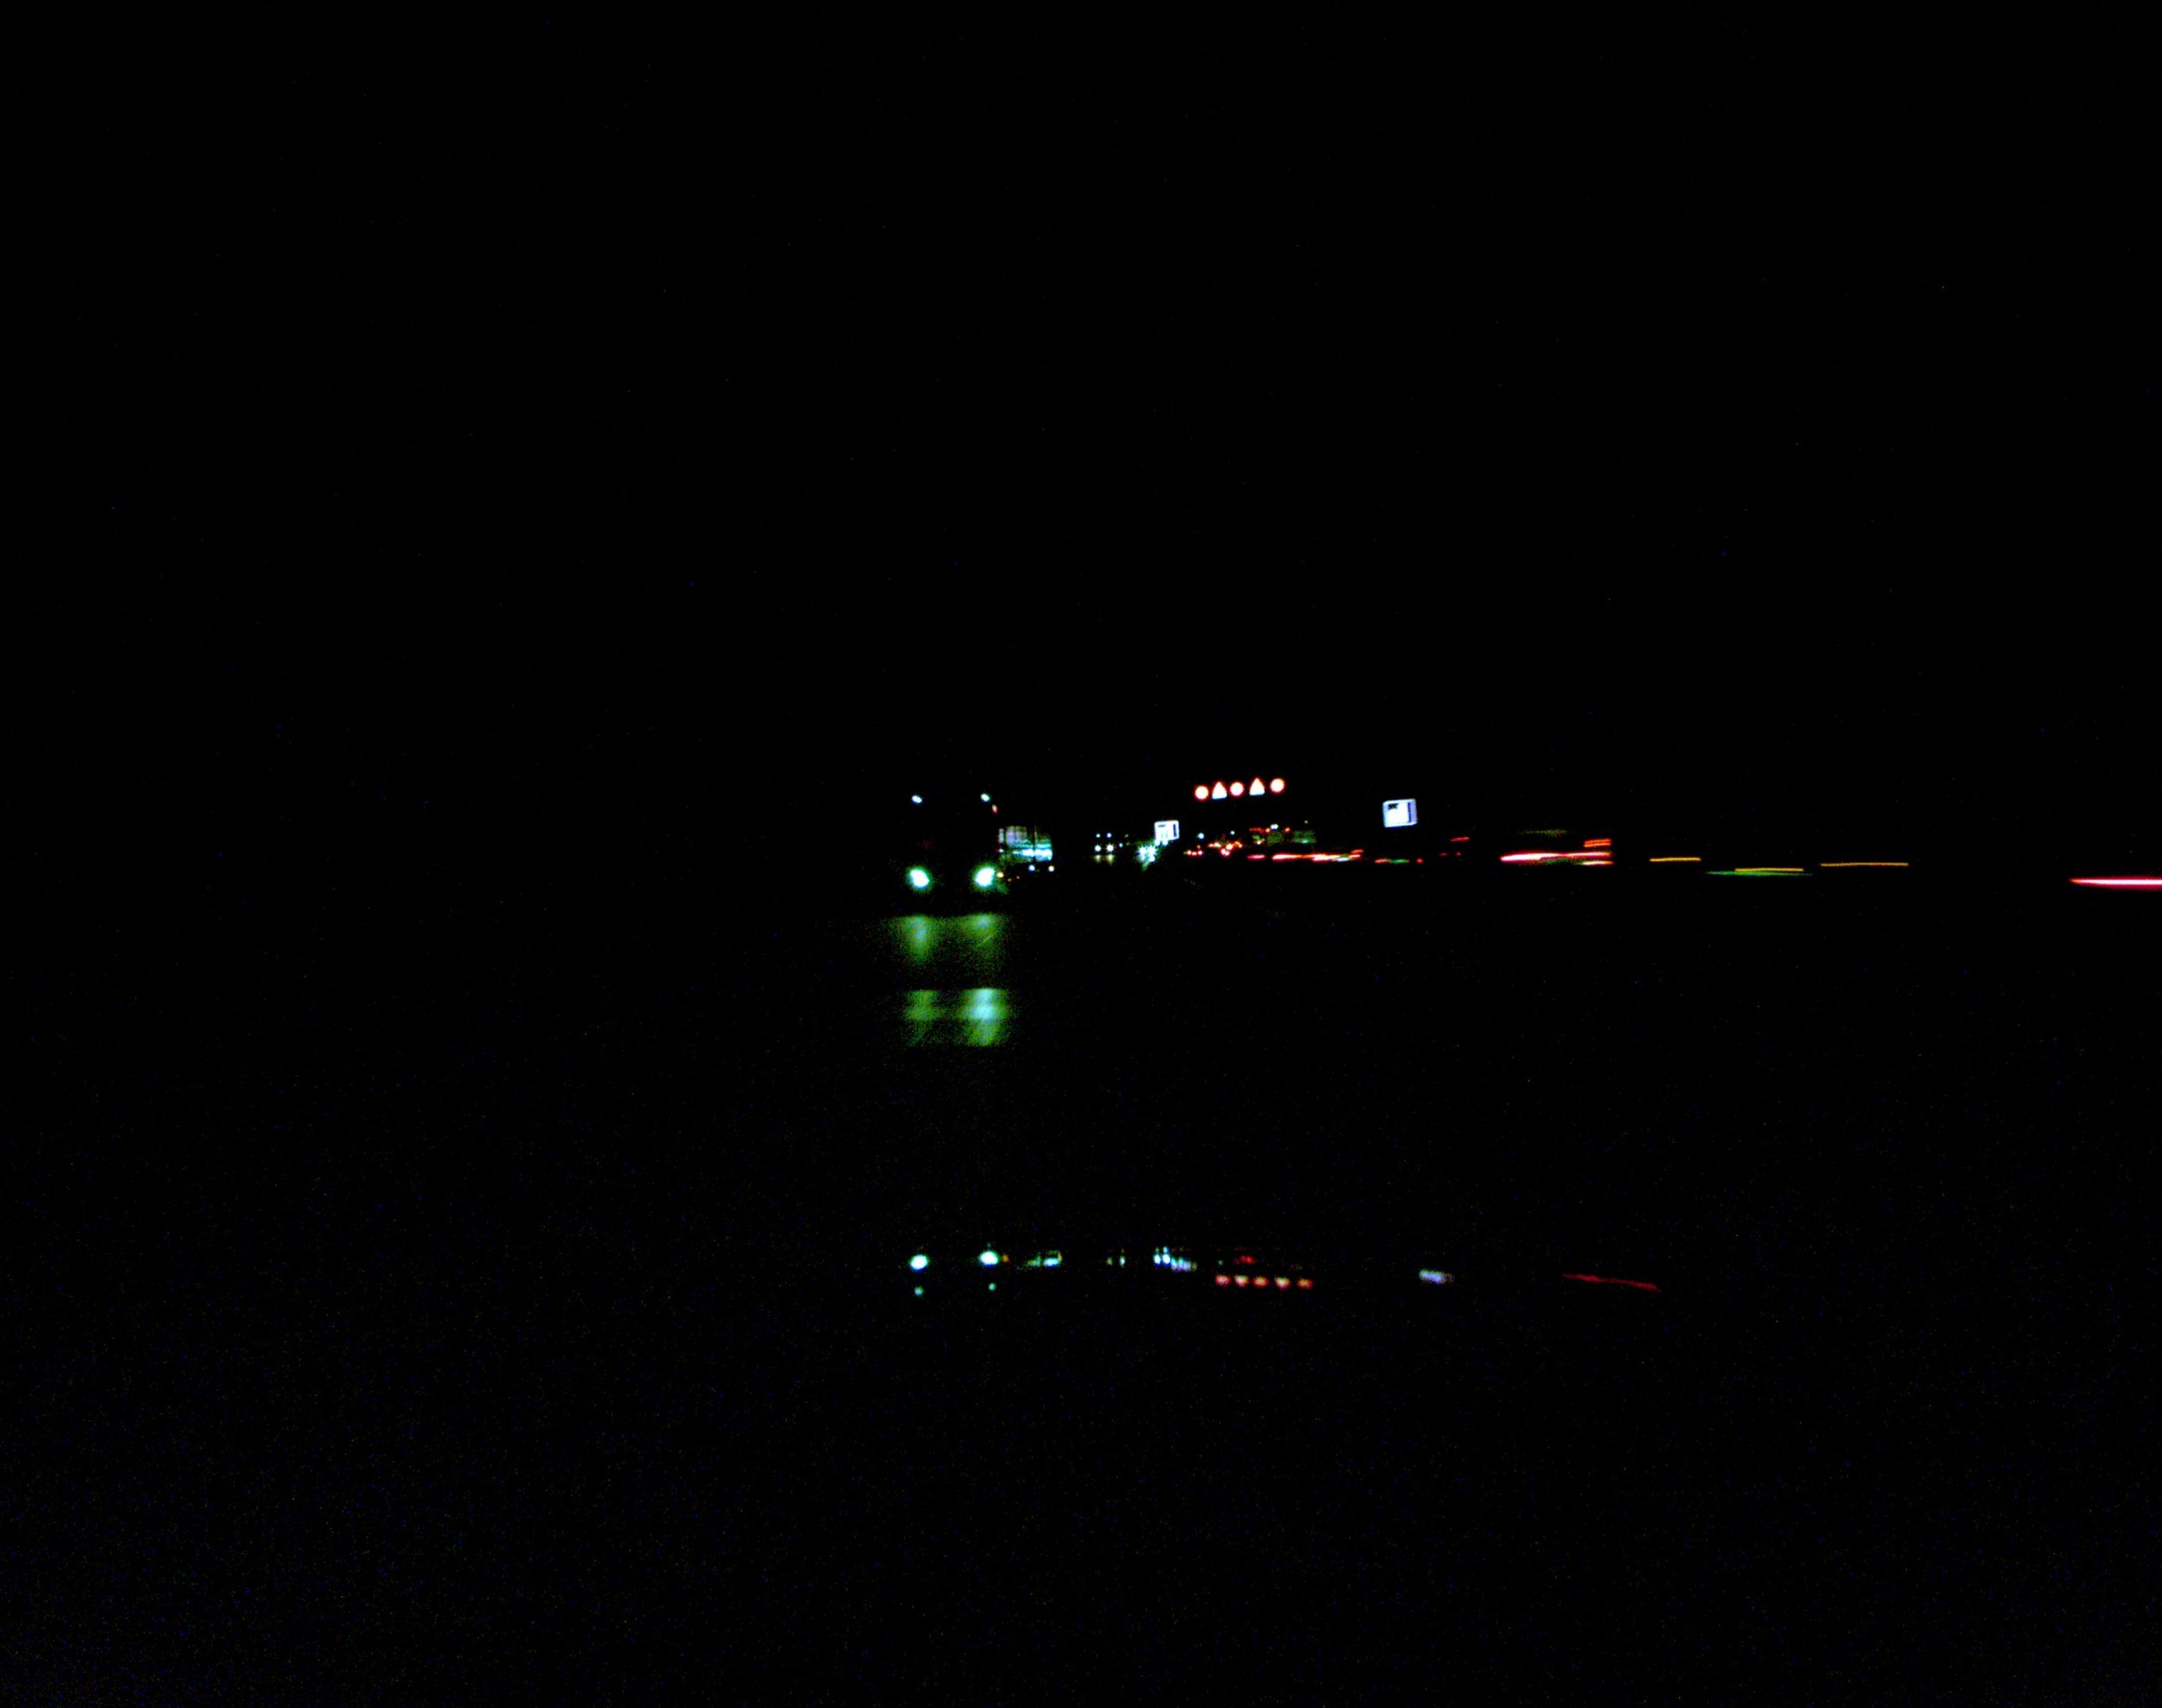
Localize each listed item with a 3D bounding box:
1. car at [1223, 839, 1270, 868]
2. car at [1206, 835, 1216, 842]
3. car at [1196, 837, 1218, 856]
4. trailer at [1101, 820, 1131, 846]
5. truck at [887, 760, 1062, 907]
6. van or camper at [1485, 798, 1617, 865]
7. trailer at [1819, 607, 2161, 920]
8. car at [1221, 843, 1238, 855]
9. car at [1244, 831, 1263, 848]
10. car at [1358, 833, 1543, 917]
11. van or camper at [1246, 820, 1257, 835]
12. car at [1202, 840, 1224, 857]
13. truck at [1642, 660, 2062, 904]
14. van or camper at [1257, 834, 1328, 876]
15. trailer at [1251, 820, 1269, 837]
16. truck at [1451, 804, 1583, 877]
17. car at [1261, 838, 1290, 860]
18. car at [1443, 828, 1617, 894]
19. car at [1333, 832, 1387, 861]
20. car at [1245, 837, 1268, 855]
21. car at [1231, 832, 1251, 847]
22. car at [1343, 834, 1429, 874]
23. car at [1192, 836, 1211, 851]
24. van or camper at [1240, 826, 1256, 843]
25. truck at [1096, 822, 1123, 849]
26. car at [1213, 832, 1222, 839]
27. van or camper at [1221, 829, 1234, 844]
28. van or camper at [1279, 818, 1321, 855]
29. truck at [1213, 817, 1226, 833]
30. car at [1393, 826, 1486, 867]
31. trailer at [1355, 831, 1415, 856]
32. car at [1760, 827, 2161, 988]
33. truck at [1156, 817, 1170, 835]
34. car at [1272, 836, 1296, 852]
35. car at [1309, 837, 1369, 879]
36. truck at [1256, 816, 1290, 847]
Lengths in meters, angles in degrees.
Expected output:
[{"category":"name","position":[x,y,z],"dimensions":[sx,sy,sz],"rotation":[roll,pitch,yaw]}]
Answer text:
[{"category":"car","position":[9.333,-0.080,43.251],"dimensions":[1.908,1.483,4.868],"rotation":[-2,1,4]},{"category":"car","position":[26.994,-3.222,157.889],"dimensions":[1.837,1.443,4.508],"rotation":[-2,1,12]},{"category":"car","position":[12.177,-0.751,73.681],"dimensions":[1.810,1.731,4.869],"rotation":[-2,2,7]},{"category":"trailer","position":[6.442,-3.797,135.615],"dimensions":[2.879,3.910,12.891],"rotation":[-3,3,13]},{"category":"truck","position":[-3.218,-0.970,30.632],"dimensions":[3.490,4.112,18.704],"rotation":[0,3,3]},{"category":"van or camper","position":[20.816,-0.938,34.108],"dimensions":[1.998,2.641,6.617],"rotation":[-2,1,3]},{"category":"trailer","position":[15.806,-1.221,7.563],"dimensions":[2.883,4.160,14.521],"rotation":[-2,1,1]},{"category":"car","position":[17.047,-0.607,87.081],"dimensions":[1.536,1.328,4.221],"rotation":[-2,1,6]},{"category":"car","position":[24.040,-2.008,105.901],"dimensions":[2.135,2.255,4.565],"rotation":[-1,2,7]},{"category":"car","position":[7.692,0.332,16.442],"dimensions":[1.908,1.483,4.868],"rotation":[-2,1,4]},{"category":"van or camper","position":[39.314,-6.154,175.090],"dimensions":[2.273,3.361,5.697],"rotation":[-2,3,12]},{"category":"car","position":[10.472,-0.471,60.222],"dimensions":[1.421,1.249,3.129],"rotation":[-3,1,5]},{"category":"truck","position":[15.872,-1.315,16.457],"dimensions":[2.872,4.186,6.105],"rotation":[-2,1,0]},{"category":"van or camper","position":[8.236,-0.003,30.045],"dimensions":[1.743,1.457,4.868],"rotation":[-2,1,4]},{"category":"trailer","position":[48.294,-6.996,204.925],"dimensions":[3.439,4.218,12.843],"rotation":[-1,3,18]},{"category":"truck","position":[16.226,-0.508,28.677],"dimensions":[1.999,2.444,5.049],"rotation":[-2,1,0]},{"category":"car","position":[13.986,-0.390,54.833],"dimensions":[1.702,1.455,3.483],"rotation":[-2,1,9]},{"category":"car","position":[11.802,0.118,20.446],"dimensions":[1.908,1.483,4.937],"rotation":[-2,1,3]},{"category":"car","position":[17.917,-0.508,49.012],"dimensions":[1.931,1.644,4.735],"rotation":[-2,2,3]},{"category":"car","position":[16.041,-0.789,69.738],"dimensions":[1.644,1.531,4.001],"rotation":[-2,2,7]},{"category":"car","position":[16.786,-1.565,79.950],"dimensions":[1.644,1.475,4.364],"rotation":[-2,2,7]},{"category":"car","position":[12.860,-0.050,32.340],"dimensions":[1.902,1.515,4.347],"rotation":[0,2,0]},{"category":"car","position":[13.333,-1.175,84.295],"dimensions":[1.684,1.557,4.000],"rotation":[-2,1,5]},{"category":"van or camper","position":[29.278,-3.495,133.347],"dimensions":[2.449,2.746,6.490],"rotation":[-2,3,10]},{"category":"truck","position":[4.928,-3.202,128.928],"dimensions":[2.871,3.820,8.055],"rotation":[-3,4,12]},{"category":"car","position":[30.451,-4.113,169.637],"dimensions":[1.822,1.444,4.507],"rotation":[-2,2,12]},{"category":"van or camper","position":[26.558,-3.157,137.889],"dimensions":[2.259,2.580,6.689],"rotation":[-1,2,10]},{"category":"van or camper","position":[19.109,-1.565,66.736],"dimensions":[2.227,2.986,7.125],"rotation":[-2,1,6]},{"category":"truck","position":[34.217,-7.257,187.432],"dimensions":[2.659,3.571,8.553],"rotation":[-3,2,12]},{"category":"car","position":[16.304,-0.372,34.882],"dimensions":[1.890,1.667,5.078],"rotation":[-2,1,1]},{"category":"trailer","position":[22.384,-0.824,56.322],"dimensions":[2.261,1.716,6.544],"rotation":[-2,1,4]},{"category":"car","position":[11.446,0.453,9.437],"dimensions":[1.908,1.483,4.868],"rotation":[-2,1,4]},{"category":"truck","position":[19.400,-6.687,179.292],"dimensions":[2.898,3.950,4.001],"rotation":[-3,2,10]},{"category":"car","position":[20.451,-1.056,76.804],"dimensions":[1.644,1.531,4.438],"rotation":[-2,2,6]},{"category":"car","position":[13.266,0.137,39.349],"dimensions":[1.680,1.840,4.110],"rotation":[-6,2,2]},{"category":"truck","position":[21.450,-2.593,85.346],"dimensions":[2.380,3.242,7.722],"rotation":[-1,2,4]}]
